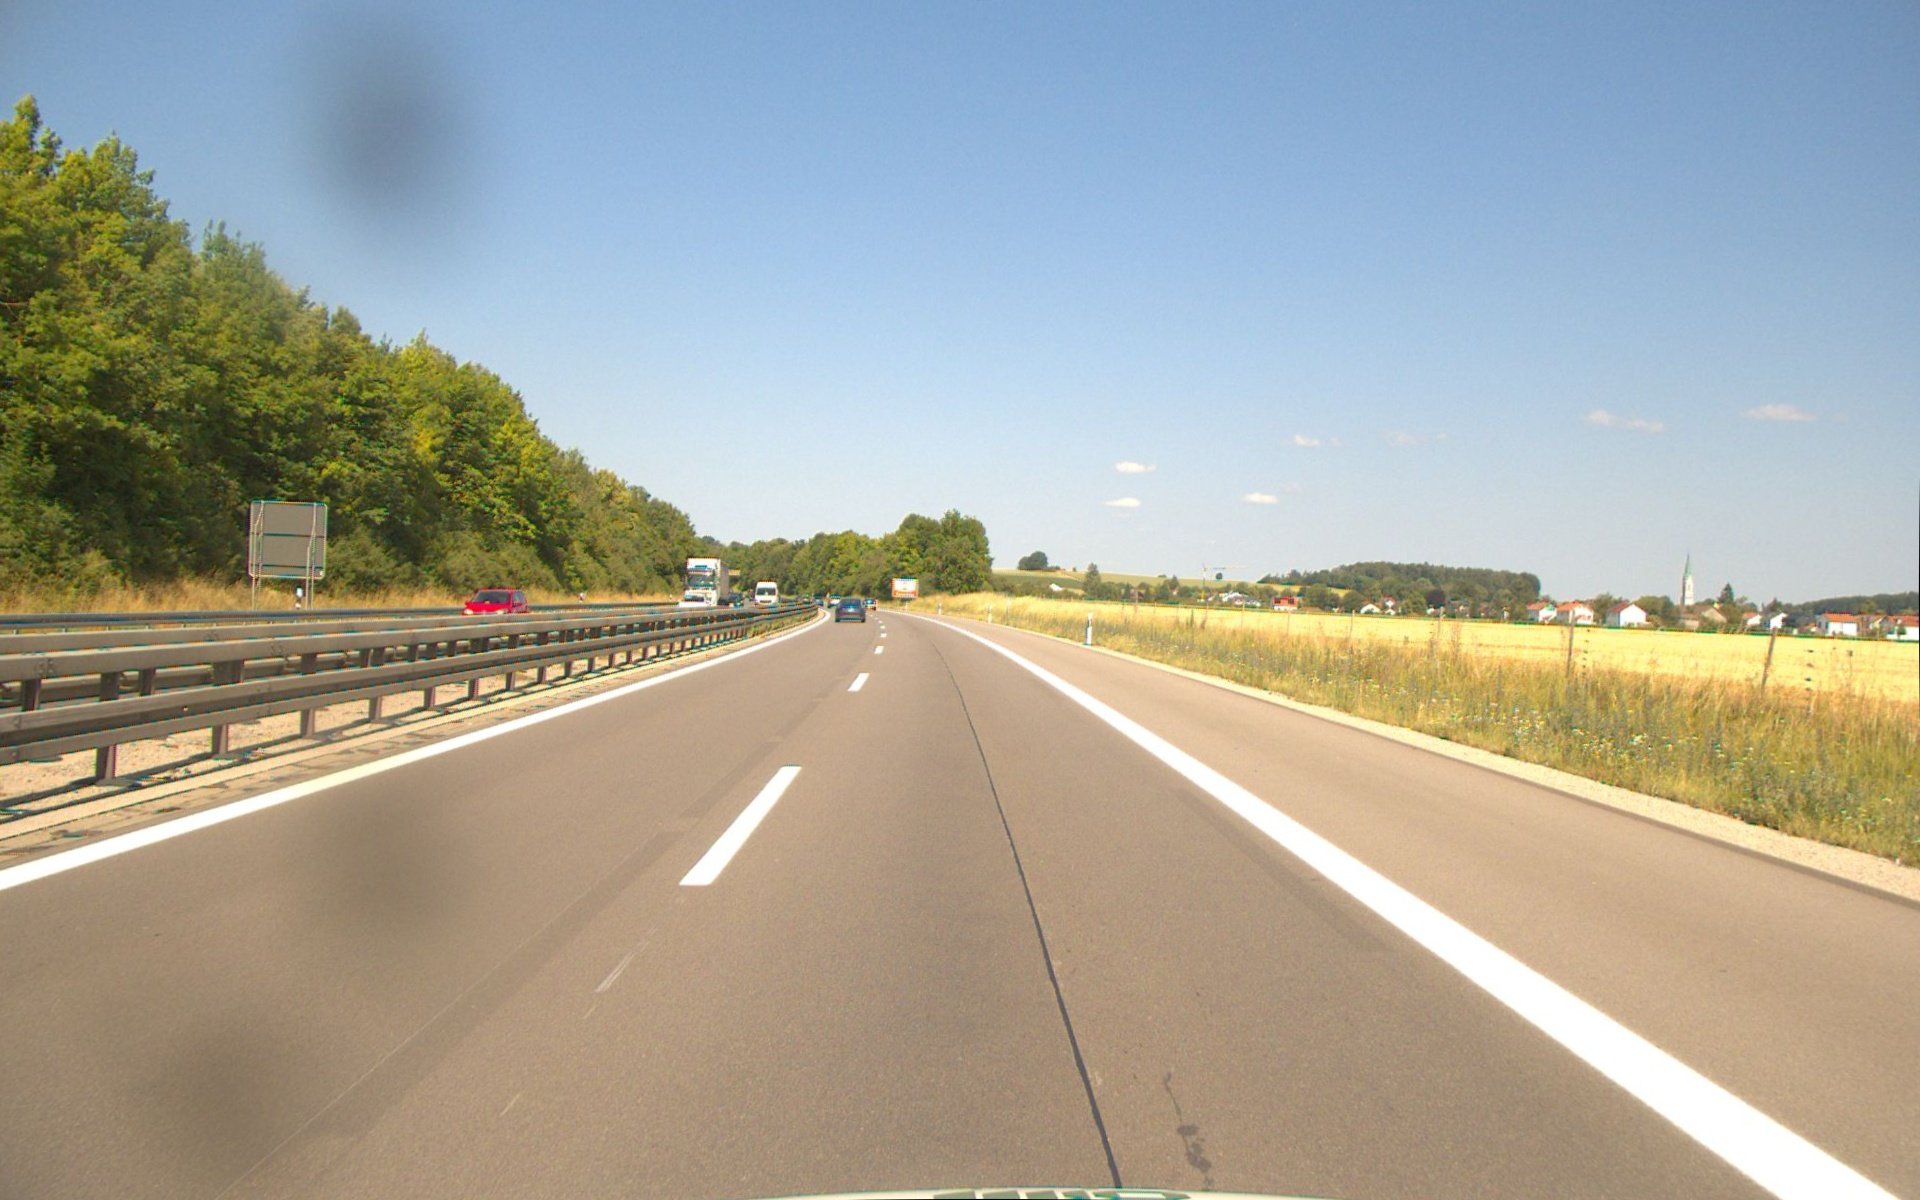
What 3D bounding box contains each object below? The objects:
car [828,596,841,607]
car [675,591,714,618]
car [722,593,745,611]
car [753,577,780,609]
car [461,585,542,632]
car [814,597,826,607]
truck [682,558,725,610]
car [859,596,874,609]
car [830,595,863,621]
[{"bbox_3d":[-17.093,0.159,225.221,1.643,1.478,3.589,2,0,-4],"label":"car"},{"bbox_3d":[-16.019,0.261,99.982,1.651,1.509,4.975,2,0,-2],"label":"car"},{"bbox_3d":[-21.676,0.157,158.302,1.722,1.655,3.998,1,0,-2],"label":"car"},{"bbox_3d":[-16.886,-0.620,144.603,2.048,2.639,5.808,1,0,-4],"label":"car"},{"bbox_3d":[-15.272,0.265,55.285,1.639,1.462,4.140,2,0,-2],"label":"car"},{"bbox_3d":[-21.695,0.364,256.346,1.642,1.478,3.590,2,0,-2],"label":"car"},{"bbox_3d":[-19.807,-1.233,128.008,2.691,3.896,5.907,1,0,-4],"label":"truck"},{"bbox_3d":[-11.089,0.345,196.428,1.643,1.478,3.588,2,0,-5],"label":"car"},{"bbox_3d":[-6.854,0.461,100.522,1.810,1.457,5.863,1,1,-3],"label":"car"}]
